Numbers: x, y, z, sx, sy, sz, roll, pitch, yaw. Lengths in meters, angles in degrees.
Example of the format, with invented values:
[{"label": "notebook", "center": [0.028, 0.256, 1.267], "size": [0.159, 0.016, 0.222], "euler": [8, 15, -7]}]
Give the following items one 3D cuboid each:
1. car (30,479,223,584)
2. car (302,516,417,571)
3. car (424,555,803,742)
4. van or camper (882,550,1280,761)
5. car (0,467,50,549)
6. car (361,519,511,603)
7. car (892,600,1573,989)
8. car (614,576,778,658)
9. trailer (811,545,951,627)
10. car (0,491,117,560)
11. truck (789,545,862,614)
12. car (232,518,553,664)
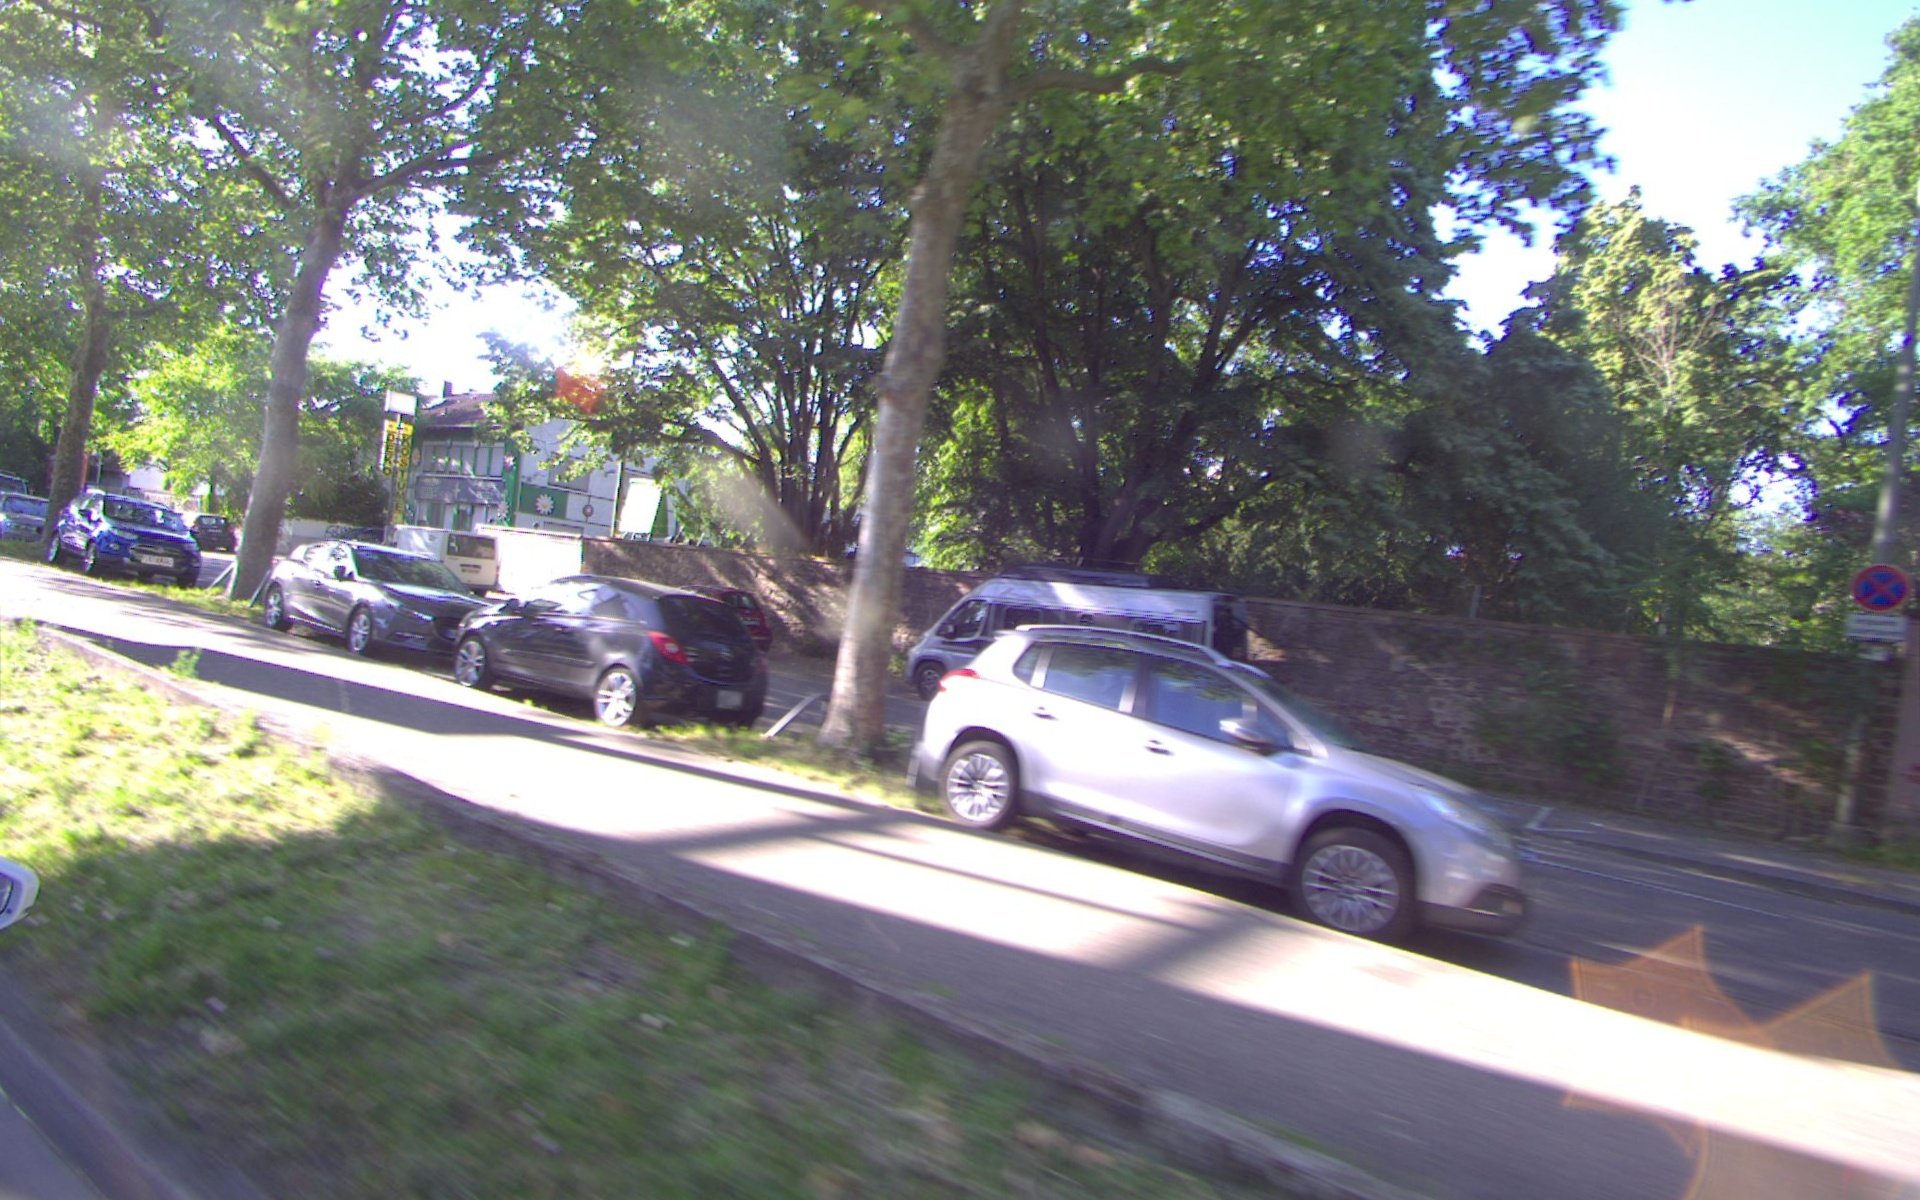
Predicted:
[{"label": "car", "center": [-17.238, -1.430, 20.753], "size": [4.282, 1.660, 1.740], "euler": [6, -2, 33]}, {"label": "car", "center": [-28.107, -2.614, 47.215], "size": [1.819, 1.871, 4.091], "euler": [6, -3, 32]}, {"label": "car", "center": [-3.809, 0.491, 10.905], "size": [3.822, 1.454, 1.796], "euler": [6, -2, 33]}, {"label": "van or camper", "center": [1.987, 0.806, 18.040], "size": [6.463, 2.719, 2.554], "euler": [7, 2, 36]}, {"label": "car", "center": [-28.156, -2.797, 28.349], "size": [5.725, 2.036, 2.194], "euler": [6, -2, 33]}, {"label": "car", "center": [-16.407, -1.247, 31.413], "size": [4.866, 2.038, 2.087], "euler": [7, -1, 36]}, {"label": "car", "center": [1.730, 1.079, 6.830], "size": [3.957, 1.577, 1.797], "euler": [6, -4, 35]}, {"label": "car", "center": [-6.179, 0.384, 23.382], "size": [3.701, 1.491, 1.688], "euler": [6, 2, 37]}, {"label": "trailer", "center": [-4.486, -0.714, 59.534], "size": [2.645, 3.604, 8.787], "euler": [6, -3, 39]}, {"label": "car", "center": [-23.037, -1.909, 25.023], "size": [3.987, 1.304, 1.997], "euler": [6, -2, 33]}, {"label": "truck", "center": [-7.458, -1.141, 55.834], "size": [2.675, 3.307, 2.482], "euler": [8, -1, 39]}, {"label": "car", "center": [-8.018, -0.161, 14.075], "size": [4.603, 1.396, 1.997], "euler": [6, -3, 35]}]
